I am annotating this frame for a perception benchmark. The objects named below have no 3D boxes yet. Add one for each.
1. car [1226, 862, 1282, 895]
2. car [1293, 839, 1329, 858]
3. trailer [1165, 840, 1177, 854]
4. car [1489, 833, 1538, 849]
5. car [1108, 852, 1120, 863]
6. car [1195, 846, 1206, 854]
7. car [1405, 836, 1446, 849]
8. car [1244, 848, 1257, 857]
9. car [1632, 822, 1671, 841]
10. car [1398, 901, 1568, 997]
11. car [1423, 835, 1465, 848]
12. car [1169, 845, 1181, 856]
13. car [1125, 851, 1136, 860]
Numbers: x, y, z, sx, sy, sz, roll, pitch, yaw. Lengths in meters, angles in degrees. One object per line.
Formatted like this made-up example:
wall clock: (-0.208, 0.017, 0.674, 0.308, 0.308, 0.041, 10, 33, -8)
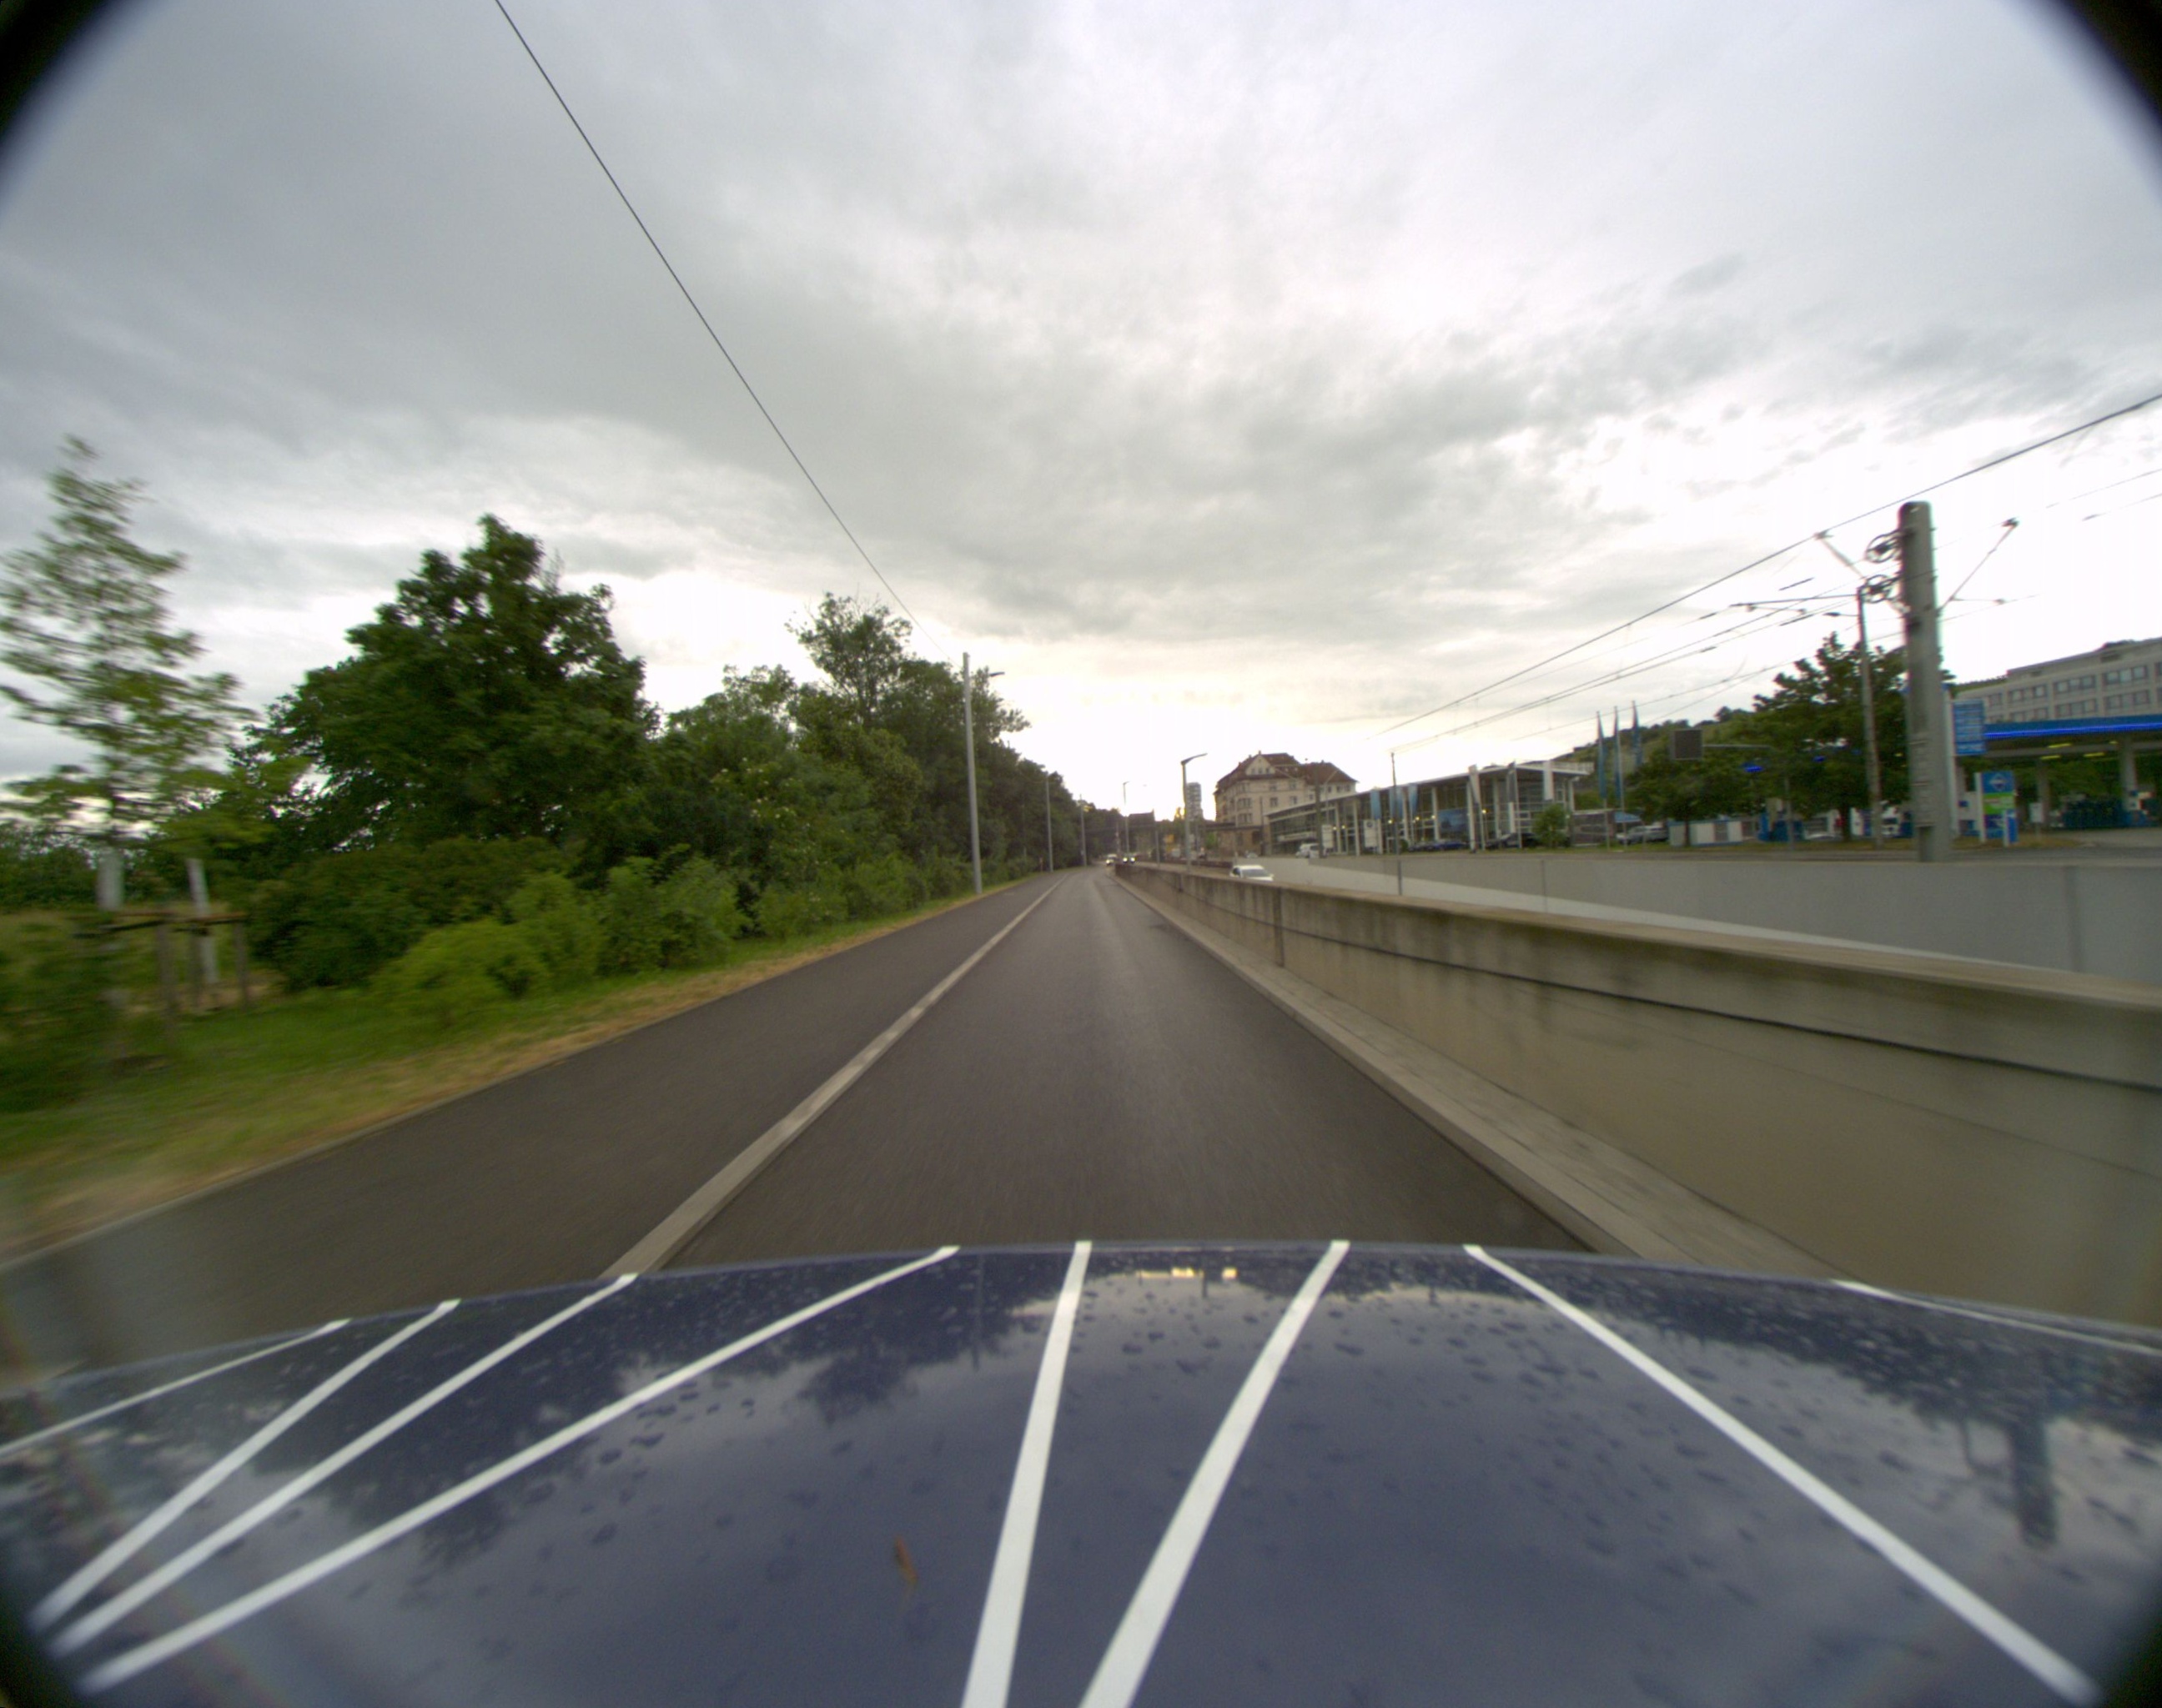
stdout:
car: (9.060, 1.244, 40.145, 1.982, 1.564, 4.319, -2, 0, 1)
car: (23.105, -0.535, 76.439, 2.006, 1.685, 5.034, -3, 0, 0)
trailer: (27.991, -2.104, 236.993, 2.690, 4.028, 9.082, -2, 0, 0)
car: (39.825, -1.163, 69.984, 3.523, 1.267, 1.717, -3, 1, 5)
car: (5.053, 0.559, 117.724, 1.710, 1.585, 4.000, -3, 0, 1)
car: (26.061, -0.836, 165.373, 1.746, 1.507, 4.340, -3, 0, 0)
car: (38.269, -1.289, 84.373, 4.003, 1.227, 1.701, -3, -1, -20)
car: (26.700, -0.264, 119.755, 1.385, 1.292, 2.801, -3, 0, -1)
car: (52.135, -2.034, 69.513, 1.385, 1.564, 2.800, -3, 0, -1)
car: (8.682, 1.989, 16.831, 1.708, 1.564, 3.896, -2, 0, 1)
car: (39.163, -1.316, 81.919, 4.003, 1.228, 1.757, -3, 1, -20)
car: (23.269, -0.870, 187.448, 2.056, 2.583, 6.164, -3, 0, 0)
car: (9.115, 0.258, 139.099, 1.710, 1.521, 4.000, -3, 0, 1)
